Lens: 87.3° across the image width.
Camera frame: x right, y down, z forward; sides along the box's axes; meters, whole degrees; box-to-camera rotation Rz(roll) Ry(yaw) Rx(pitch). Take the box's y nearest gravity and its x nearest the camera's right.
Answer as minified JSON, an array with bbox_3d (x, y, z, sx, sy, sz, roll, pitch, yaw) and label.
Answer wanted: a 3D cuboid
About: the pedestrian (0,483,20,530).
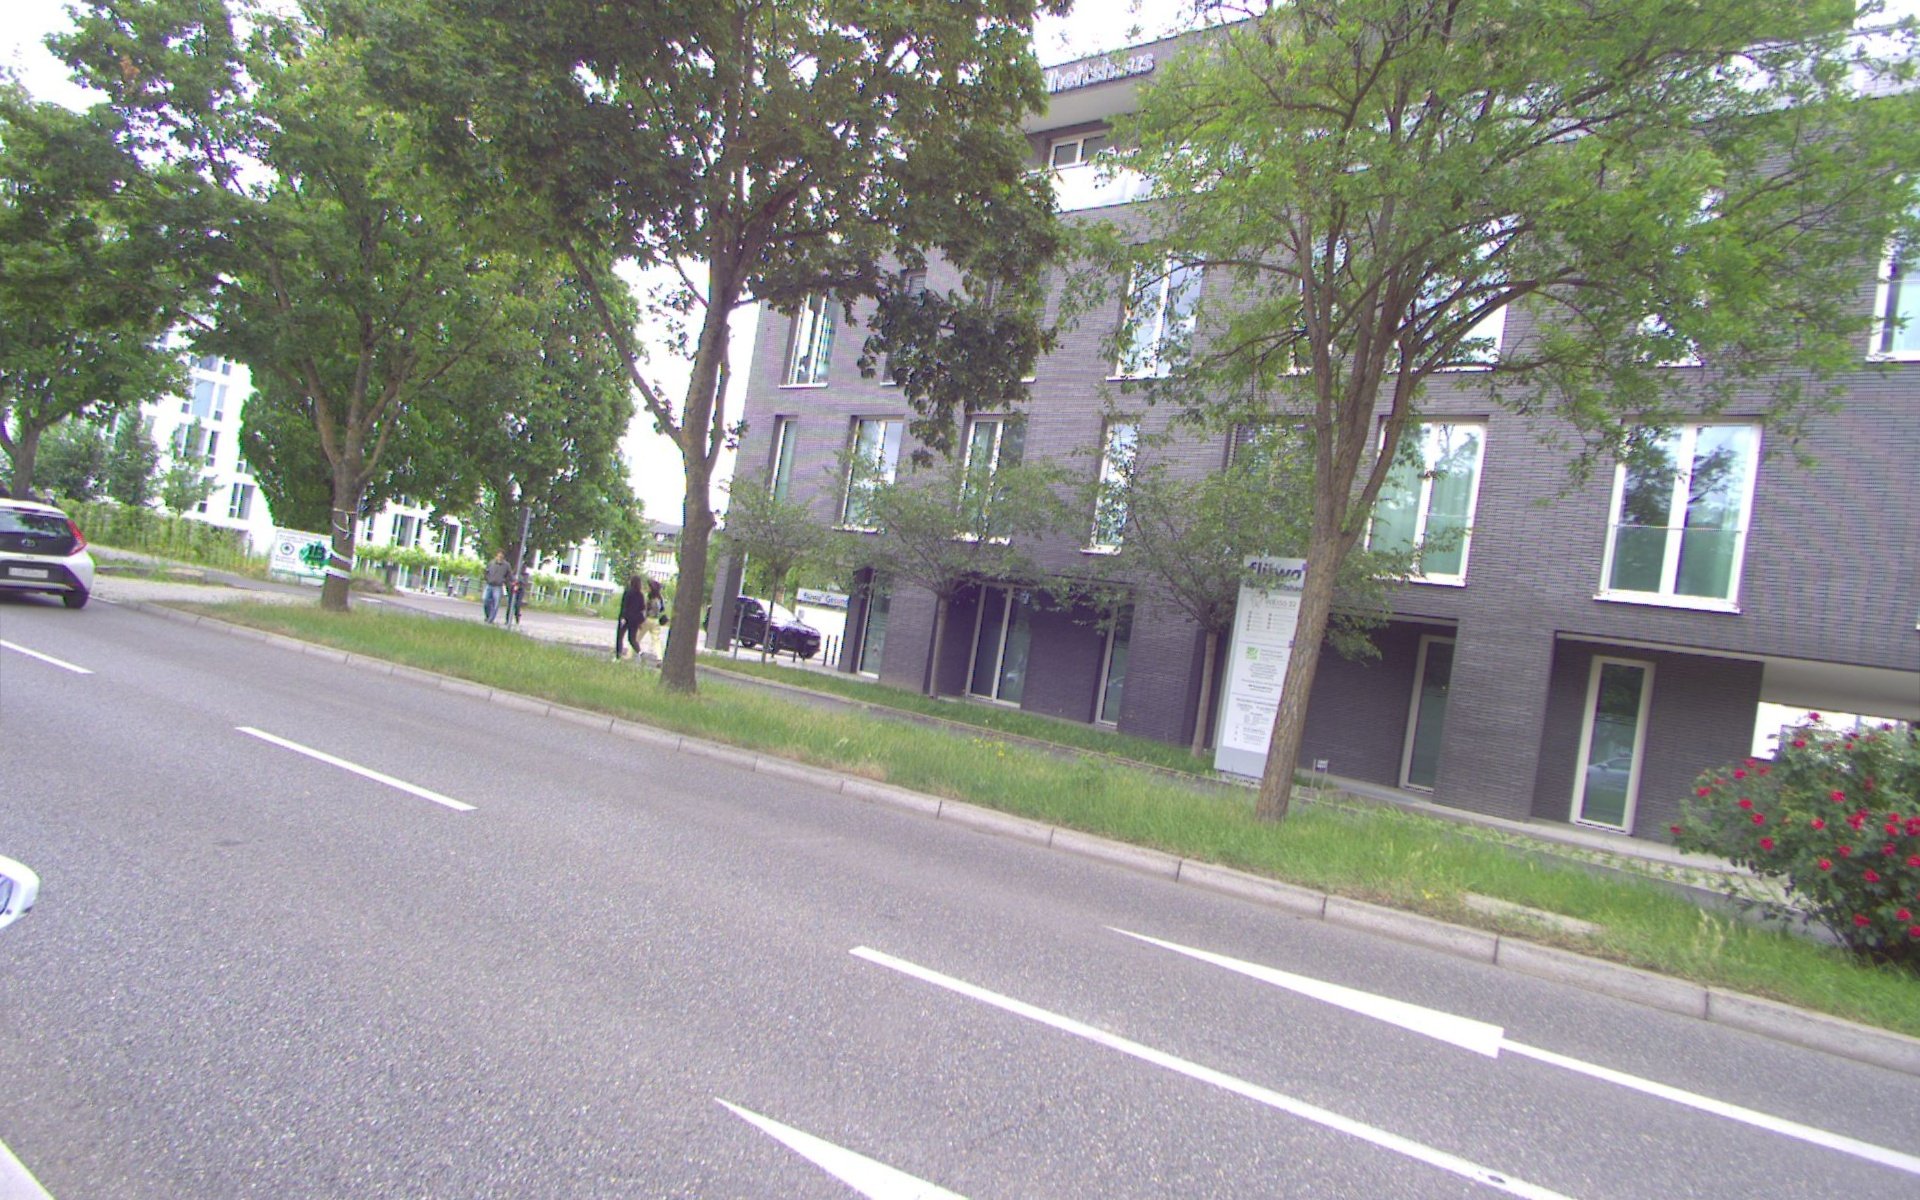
[{"bbox_3d":[-31.888,-3.124,33.243,1.093,1.465,0.791,6,-1,31],"label":"pedestrian"}]

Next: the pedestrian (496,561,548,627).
[{"bbox_3d":[-11.320,-0.134,26.040,0.821,1.575,0.875,8,-1,-8],"label":"pedestrian"}]

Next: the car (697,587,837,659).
[{"bbox_3d":[-6.102,0.717,31.681,4.080,1.665,1.759,7,-2,32],"label":"car"}]

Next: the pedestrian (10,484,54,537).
[{"bbox_3d":[-31.148,-3.006,33.765,0.868,1.614,0.701,6,-1,31],"label":"pedestrian"}]

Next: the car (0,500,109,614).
[{"bbox_3d":[-14.349,-0.765,14.828,3.476,1.442,1.656,7,-1,32],"label":"car"}]

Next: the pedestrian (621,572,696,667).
[{"bbox_3d":[-5.845,0.383,19.499,0.937,1.679,0.779,7,-1,38],"label":"pedestrian"}]

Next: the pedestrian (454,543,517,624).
[{"bbox_3d":[-11.992,-0.392,25.469,0.946,1.889,0.978,8,-1,-8],"label":"pedestrian"}]

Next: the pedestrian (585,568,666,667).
[{"bbox_3d":[-6.266,0.331,18.833,1.043,1.679,0.796,7,-1,38],"label":"pedestrian"}]

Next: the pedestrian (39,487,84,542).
[{"bbox_3d":[-30.737,-2.925,34.428,0.868,1.705,0.768,6,-1,31],"label":"pedestrian"}]
